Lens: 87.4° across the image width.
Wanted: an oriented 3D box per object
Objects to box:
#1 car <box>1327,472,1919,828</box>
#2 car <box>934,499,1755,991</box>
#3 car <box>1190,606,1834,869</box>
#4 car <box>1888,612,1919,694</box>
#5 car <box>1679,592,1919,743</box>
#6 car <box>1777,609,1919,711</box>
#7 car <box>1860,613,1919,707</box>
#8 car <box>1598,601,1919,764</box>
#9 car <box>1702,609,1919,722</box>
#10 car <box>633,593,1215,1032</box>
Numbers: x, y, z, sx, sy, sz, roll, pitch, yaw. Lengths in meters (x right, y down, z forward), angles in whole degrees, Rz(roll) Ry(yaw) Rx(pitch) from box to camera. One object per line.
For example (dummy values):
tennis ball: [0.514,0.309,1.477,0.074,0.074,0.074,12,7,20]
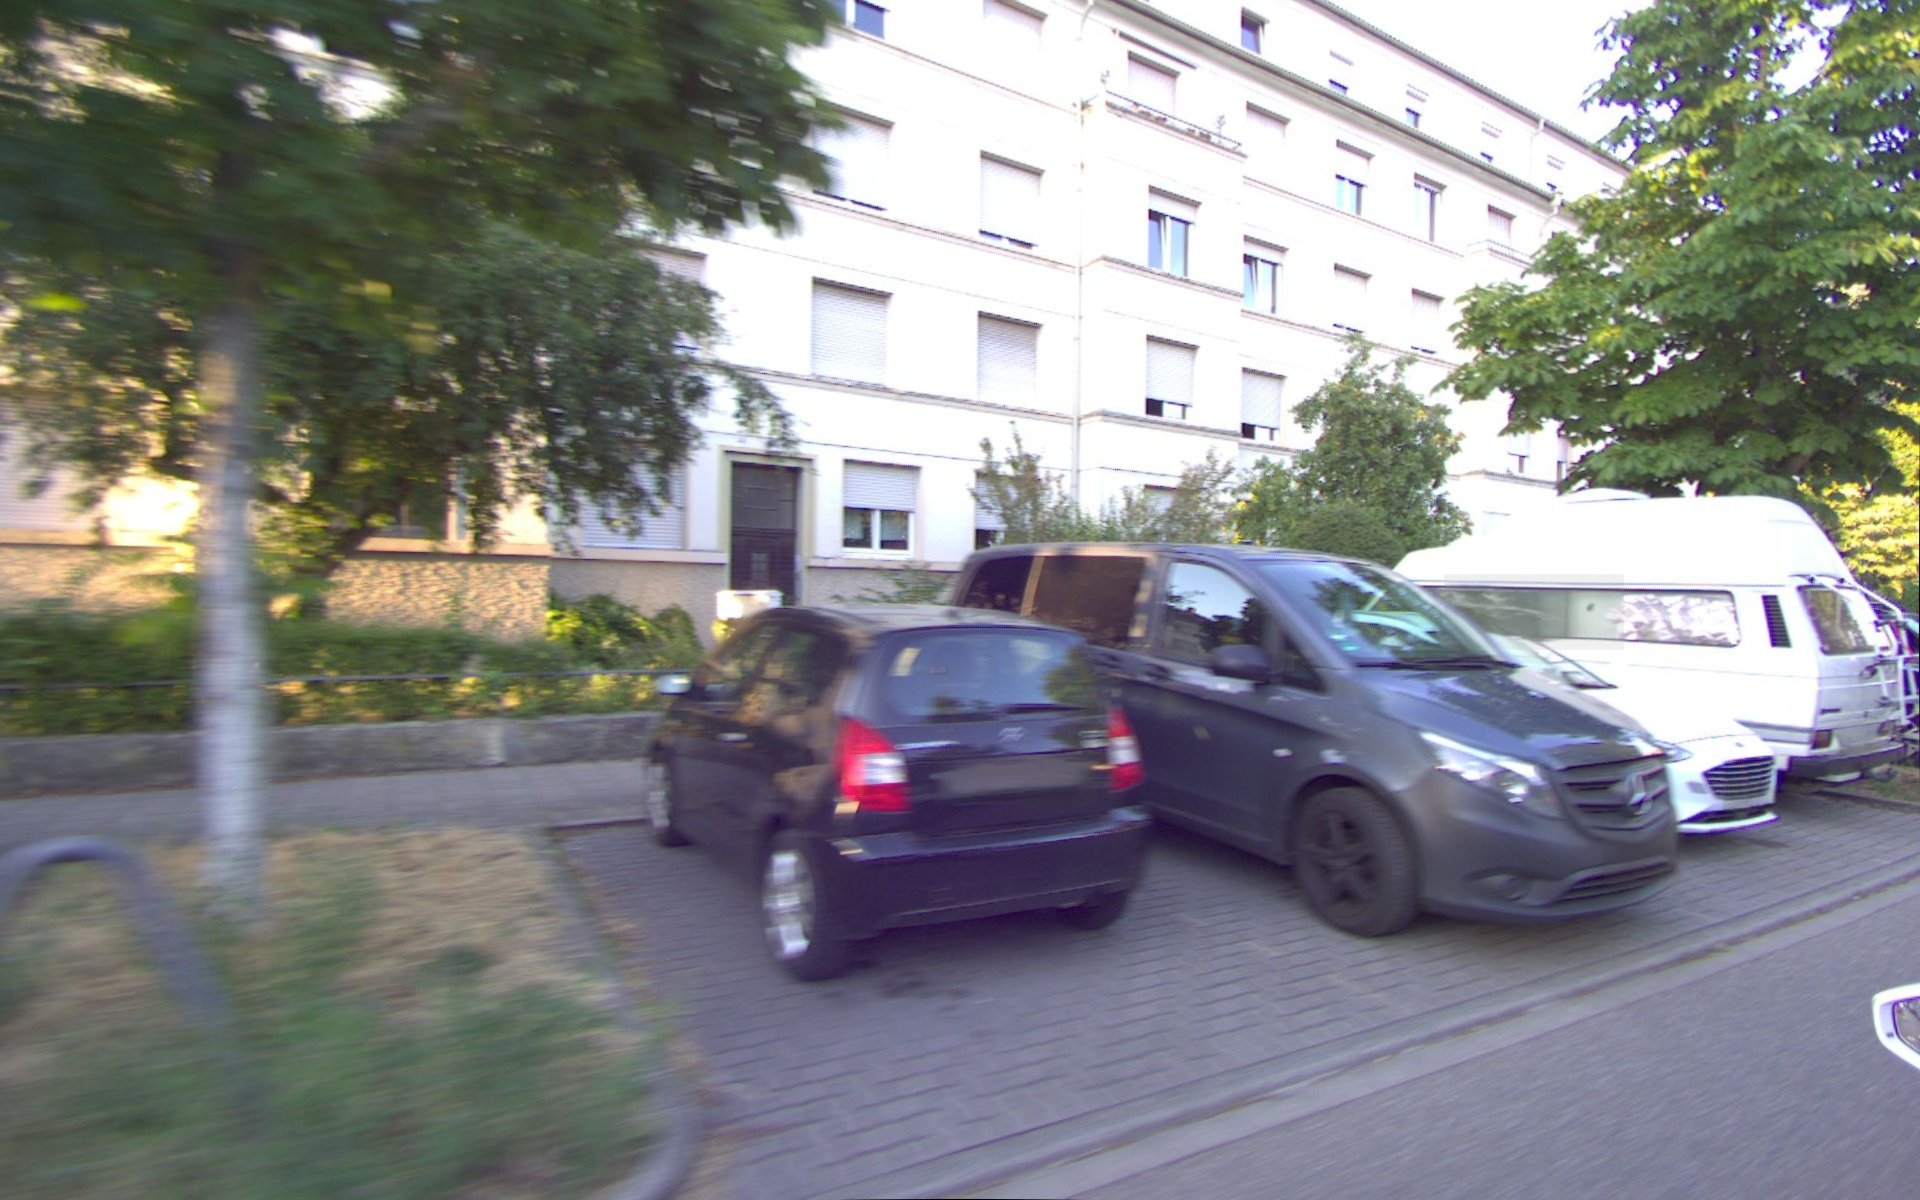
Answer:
car: [5.979,0.244,9.370,1.977,2.464,4.478,0,3,-31]
car: [1.845,0.535,6.393,1.977,1.899,4.649,0,1,-31]
car: [4.068,0.819,8.143,1.977,1.444,4.153,0,1,-31]
car: [20.432,1.079,19.002,1.784,1.599,3.957,0,1,-37]
car: [12.023,0.817,13.136,1.821,1.801,3.842,0,1,-30]
car: [16.235,0.998,16.570,1.714,1.604,3.961,0,1,-35]
car: [18.511,1.099,17.178,1.882,1.636,4.374,0,1,-37]
car: [9.931,0.853,11.694,1.764,1.616,3.842,0,1,-30]
car: [13.936,0.954,15.248,1.772,1.544,3.959,0,1,-36]
car: [-0.555,0.731,5.516,1.636,1.458,3.751,1,1,-30]
